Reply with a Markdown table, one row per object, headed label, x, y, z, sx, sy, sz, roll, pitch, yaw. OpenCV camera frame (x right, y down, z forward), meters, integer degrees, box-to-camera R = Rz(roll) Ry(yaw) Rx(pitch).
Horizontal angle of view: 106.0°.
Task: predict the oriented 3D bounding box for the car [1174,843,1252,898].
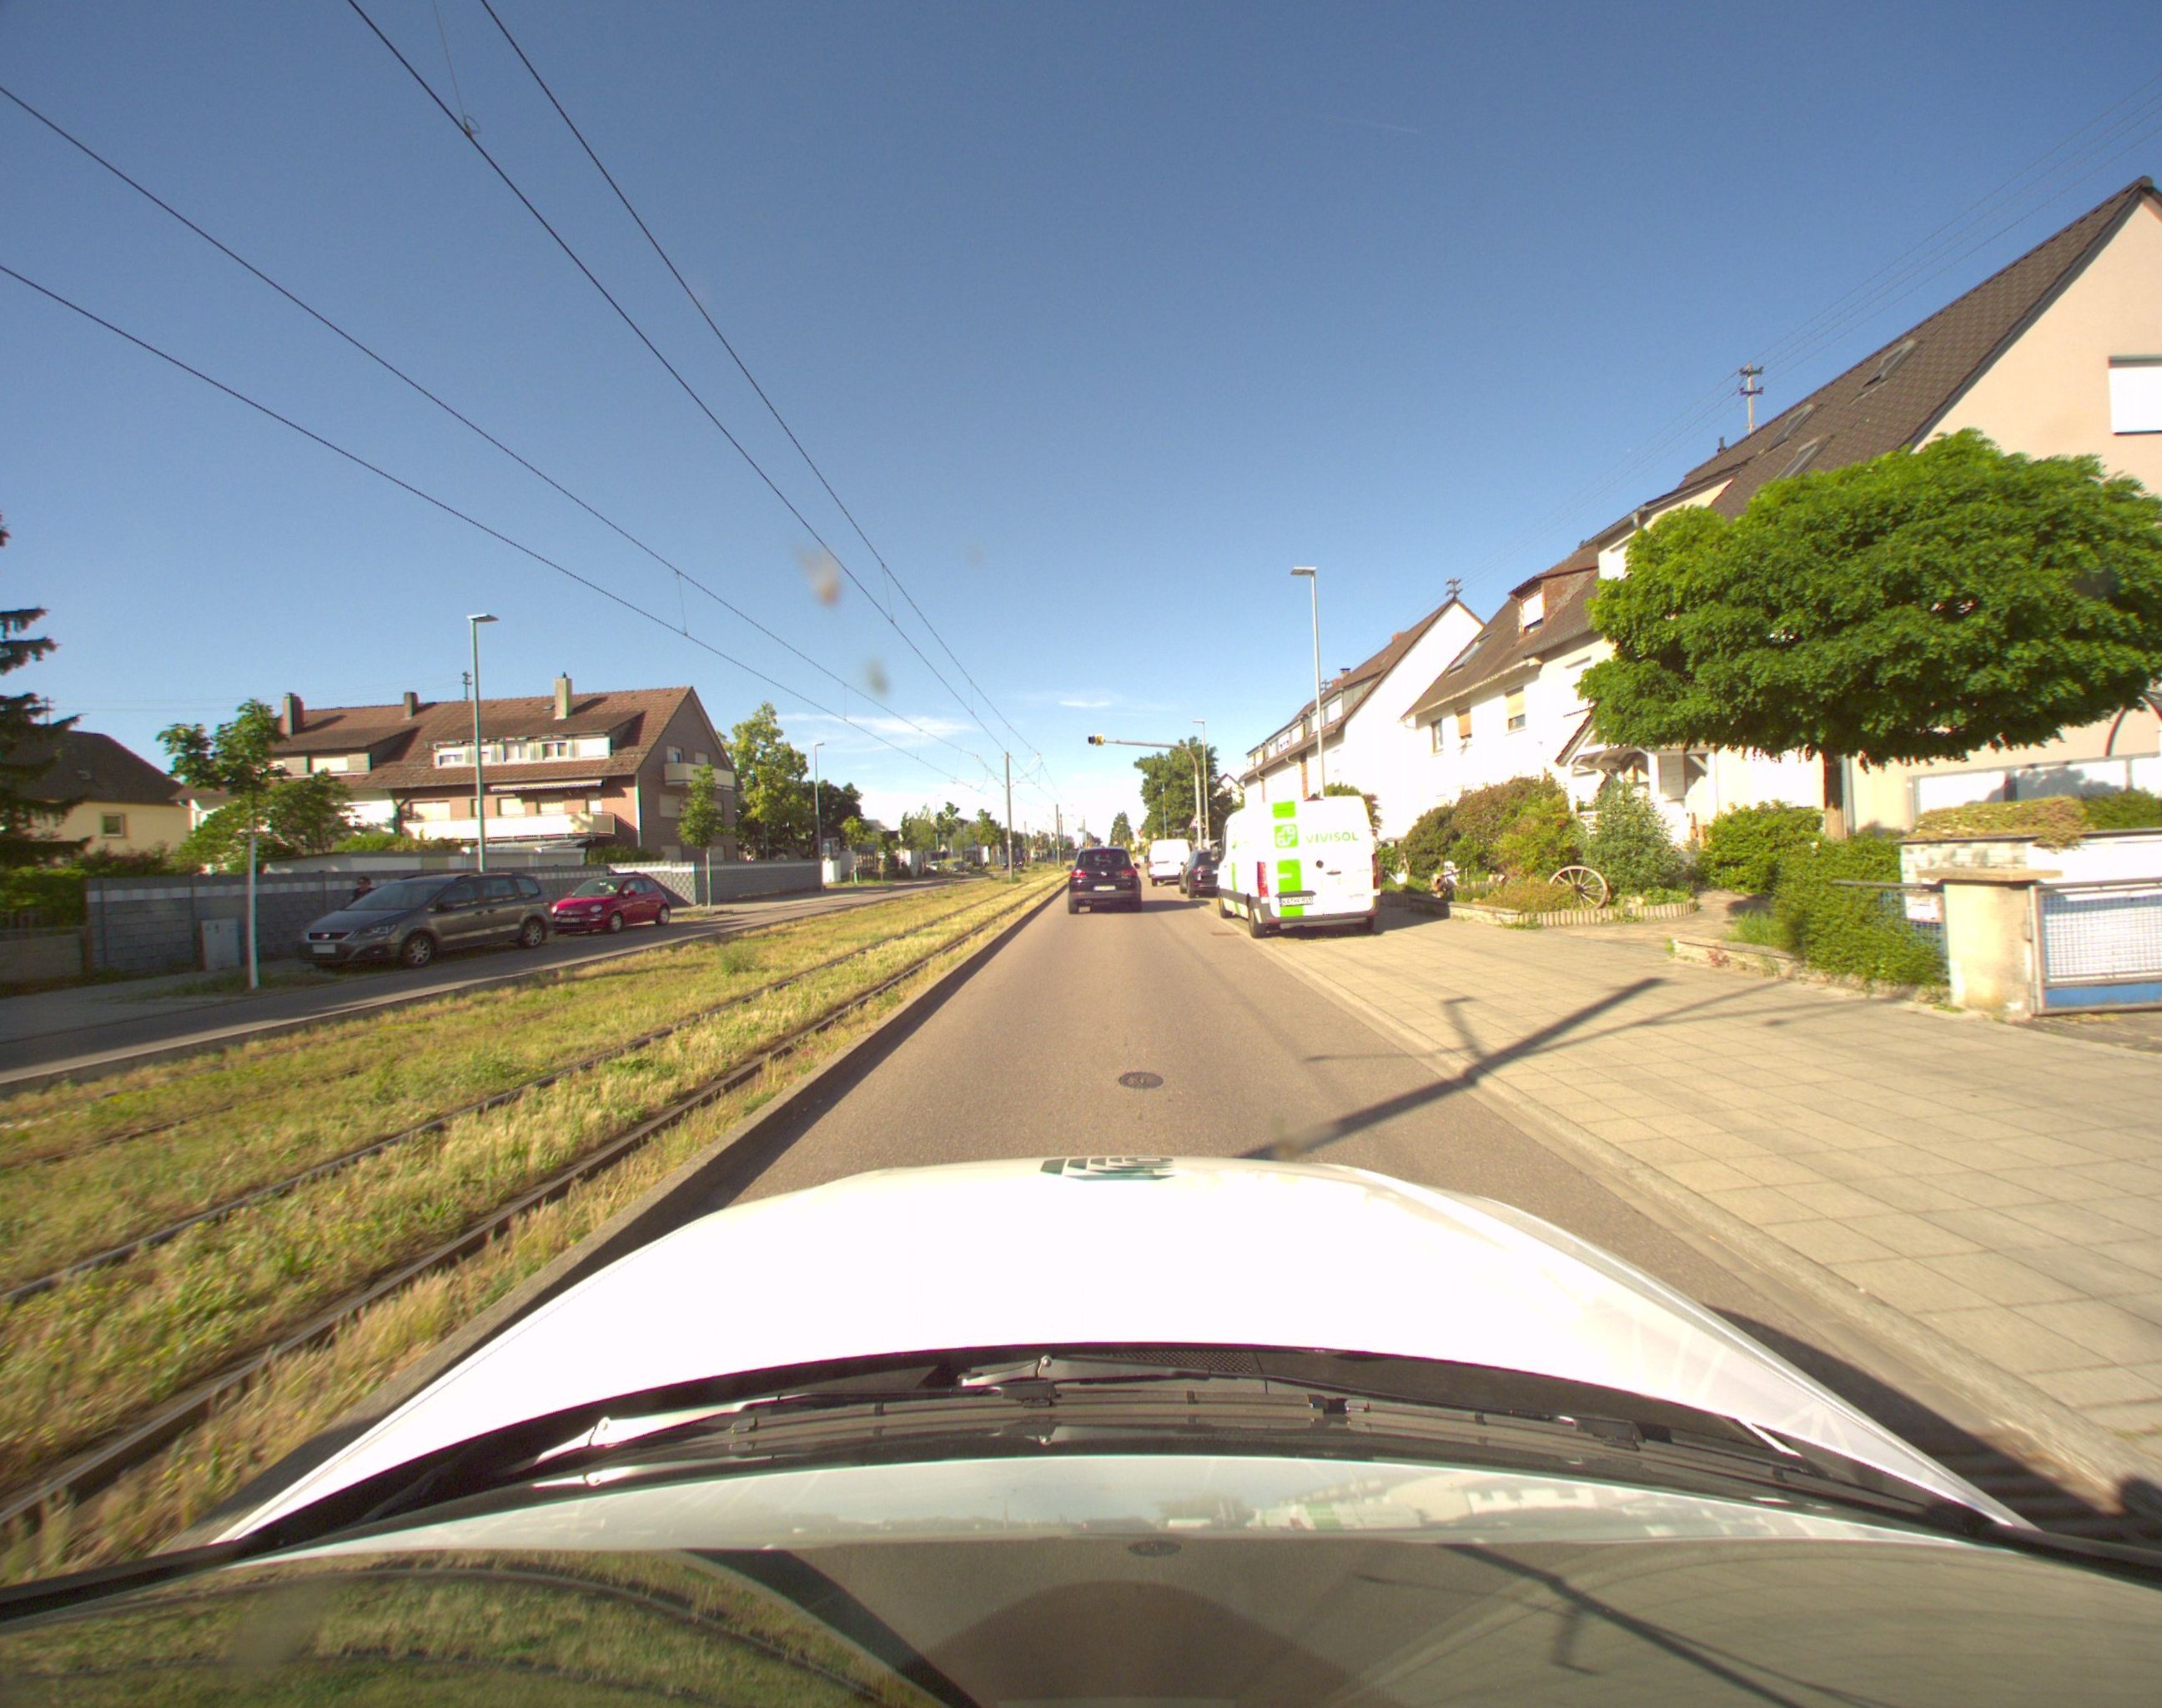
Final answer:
| label | x | y | z | sx | sy | sz | roll | pitch | yaw |
| --- | --- | --- | --- | --- | --- | --- | --- | --- | --- |
| car | 4.121 | 0.490 | 26.263 | 1.742 | 1.494 | 5.157 | -4 | 0 | 2 |

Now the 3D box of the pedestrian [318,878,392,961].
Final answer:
| label | x | y | z | sx | sy | sz | roll | pitch | yaw |
| --- | --- | --- | --- | --- | --- | --- | --- | --- | --- |
| pedestrian | -15.101 | 1.334 | 16.957 | 0.693 | 1.640 | 0.919 | -1 | -1 | -1 |

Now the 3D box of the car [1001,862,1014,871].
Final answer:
| label | x | y | z | sx | sy | sz | roll | pitch | yaw |
| --- | --- | --- | --- | --- | --- | --- | --- | --- | --- |
| car | -13.168 | 2.193 | 146.428 | 1.681 | 1.389 | 4.391 | -4 | 0 | 3 |

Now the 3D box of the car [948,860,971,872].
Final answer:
| label | x | y | z | sx | sy | sz | roll | pitch | yaw |
| --- | --- | --- | --- | --- | --- | --- | --- | --- | --- |
| car | -15.242 | 1.493 | 102.464 | 1.801 | 1.461 | 4.325 | -1 | 0 | 6 |

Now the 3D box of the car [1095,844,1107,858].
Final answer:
| label | x | y | z | sx | sy | sz | roll | pitch | yaw |
| --- | --- | --- | --- | --- | --- | --- | --- | --- | --- |
| car | 3.977 | -0.566 | 161.142 | 2.385 | 2.564 | 5.532 | -3 | 0 | 2 |

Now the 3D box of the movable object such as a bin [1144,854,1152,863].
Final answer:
| label | x | y | z | sx | sy | sz | roll | pitch | yaw |
| --- | --- | --- | --- | --- | --- | --- | --- | --- | --- |
| movable object such as a bin | 8.664 | 0.574 | 105.737 | 0.971 | 1.111 | 1.172 | -3 | 0 | 5 |

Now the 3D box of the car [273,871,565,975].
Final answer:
| label | x | y | z | sx | sy | sz | roll | pitch | yaw |
| --- | --- | --- | --- | --- | --- | --- | --- | --- | --- |
| car | -13.000 | 1.246 | 16.513 | 1.812 | 1.684 | 4.848 | -1 | 0 | 2 |

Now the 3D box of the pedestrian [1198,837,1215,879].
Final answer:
| label | x | y | z | sx | sy | sz | roll | pitch | yaw |
| --- | --- | --- | --- | --- | --- | --- | --- | --- | --- |
| pedestrian | 5.742 | 0.181 | 37.184 | 0.694 | 1.912 | 0.761 | -1 | -1 | 10 |

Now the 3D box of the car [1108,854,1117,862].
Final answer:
| label | x | y | z | sx | sy | sz | roll | pitch | yaw |
| --- | --- | --- | --- | --- | --- | --- | --- | --- | --- |
| car | 6.938 | 0.881 | 179.733 | 1.770 | 1.670 | 3.999 | -3 | 0 | 0 |

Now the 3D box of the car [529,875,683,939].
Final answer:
| label | x | y | z | sx | sy | sz | roll | pitch | yaw |
| --- | --- | --- | --- | --- | --- | --- | --- | --- | --- |
| car | -12.960 | 1.400 | 22.552 | 1.689 | 1.405 | 4.081 | -3 | 0 | 2 |

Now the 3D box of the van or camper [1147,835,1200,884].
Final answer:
| label | x | y | z | sx | sy | sz | roll | pitch | yaw |
| --- | --- | --- | --- | --- | --- | --- | --- | --- | --- |
| van or camper | 4.249 | 0.215 | 36.791 | 2.016 | 1.956 | 5.309 | -3 | 0 | 9 |

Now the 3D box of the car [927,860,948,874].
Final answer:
| label | x | y | z | sx | sy | sz | roll | pitch | yaw |
| --- | --- | --- | --- | --- | --- | --- | --- | --- | --- |
| car | -15.683 | 1.425 | 89.260 | 1.539 | 1.491 | 3.775 | -1 | 0 | 0 |

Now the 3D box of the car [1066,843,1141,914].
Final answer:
| label | x | y | z | sx | sy | sz | roll | pitch | yaw |
| --- | --- | --- | --- | --- | --- | --- | --- | --- | --- |
| car | 0.529 | 0.597 | 21.472 | 1.770 | 1.670 | 3.999 | -1 | 0 | 0 |

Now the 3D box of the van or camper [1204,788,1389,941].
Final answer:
| label | x | y | z | sx | sy | sz | roll | pitch | yaw |
| --- | --- | --- | --- | --- | --- | --- | --- | --- | --- |
| van or camper | 3.857 | 0.183 | 15.922 | 1.986 | 2.271 | 6.307 | -4 | 0 | 2 |

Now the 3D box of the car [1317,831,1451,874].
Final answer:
| label | x | y | z | sx | sy | sz | roll | pitch | yaw |
| --- | --- | --- | --- | --- | --- | --- | --- | --- | --- |
| car | 12.225 | -0.051 | 33.067 | 4.697 | 1.477 | 1.906 | -3 | -1 | -1 |
